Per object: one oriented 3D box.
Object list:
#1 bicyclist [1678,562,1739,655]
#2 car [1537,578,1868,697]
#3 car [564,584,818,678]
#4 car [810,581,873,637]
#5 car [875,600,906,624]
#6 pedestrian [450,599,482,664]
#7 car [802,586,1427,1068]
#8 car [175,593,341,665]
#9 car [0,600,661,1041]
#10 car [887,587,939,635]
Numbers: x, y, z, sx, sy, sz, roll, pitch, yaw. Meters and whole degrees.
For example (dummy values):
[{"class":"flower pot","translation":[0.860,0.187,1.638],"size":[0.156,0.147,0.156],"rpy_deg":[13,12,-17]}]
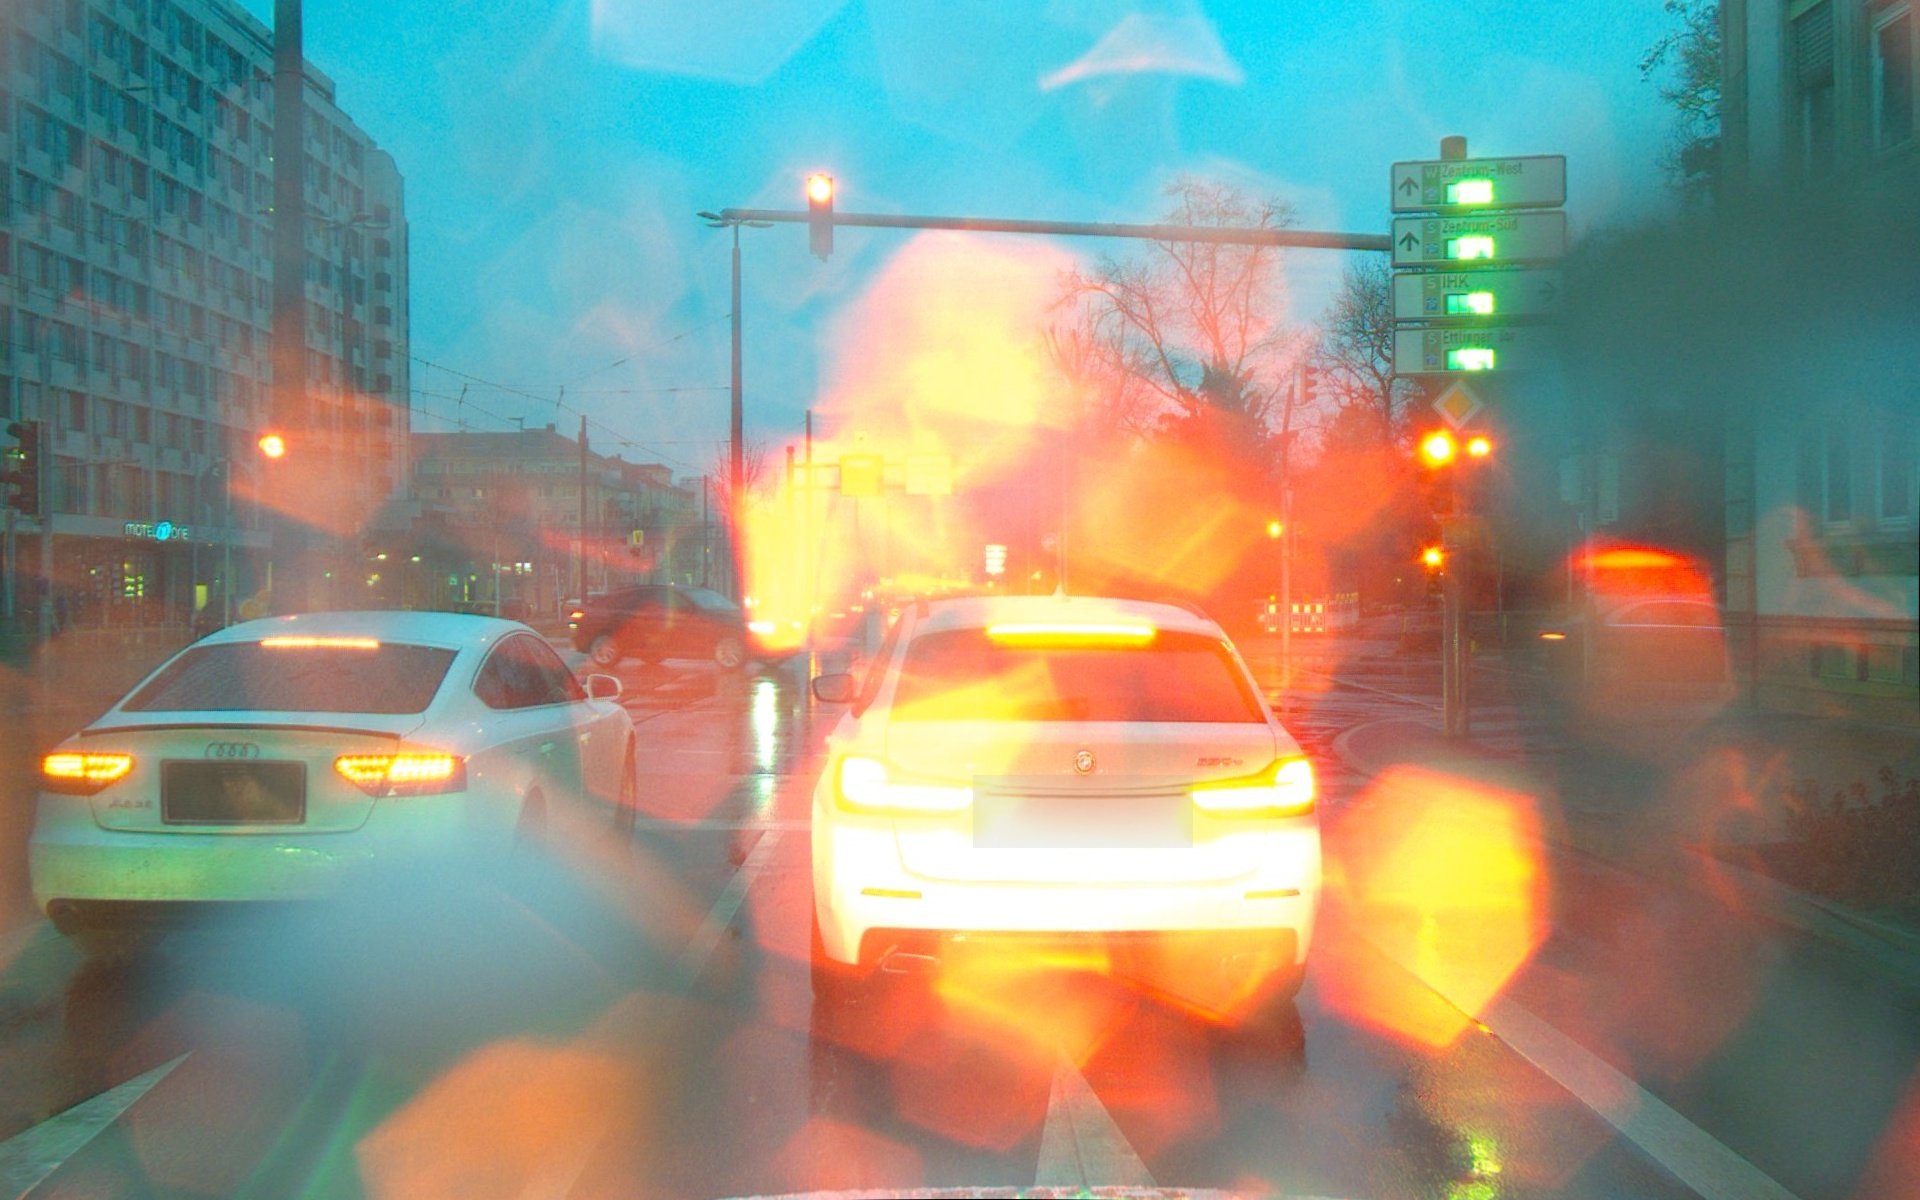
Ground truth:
[{"class":"bicyclist","translation":[14.622,0.165,32.336],"size":[0.951,1.789,0.814],"rpy_deg":[1,-1,16]},{"class":"car","translation":[11.530,0.561,26.060],"size":[4.598,1.750,1.869],"rpy_deg":[0,-1,19]},{"class":"car","translation":[-5.287,0.586,32.522],"size":[4.599,1.750,1.901],"rpy_deg":[0,-1,21]},{"class":"car","translation":[-3.661,0.289,51.701],"size":[1.806,1.637,3.943],"rpy_deg":[1,-1,-2]},{"class":"car","translation":[-4.483,0.739,106.314],"size":[1.954,1.481,4.366],"rpy_deg":[0,0,-3]},{"class":"pedestrian","translation":[-13.444,0.856,45.061],"size":[0.777,1.741,0.809],"rpy_deg":[1,-1,-16]},{"class":"car","translation":[0.389,0.678,7.314],"size":[1.954,1.481,4.366],"rpy_deg":[0,0,-3]},{"class":"car","translation":[-16.366,0.650,38.489],"size":[4.244,1.557,1.754],"rpy_deg":[1,-1,39]},{"class":"car","translation":[-2.712,0.759,7.920],"size":[1.954,1.481,4.366],"rpy_deg":[0,0,-3]},{"class":"car","translation":[-1.747,0.402,60.315],"size":[1.806,1.637,3.943],"rpy_deg":[1,-1,-2]}]
